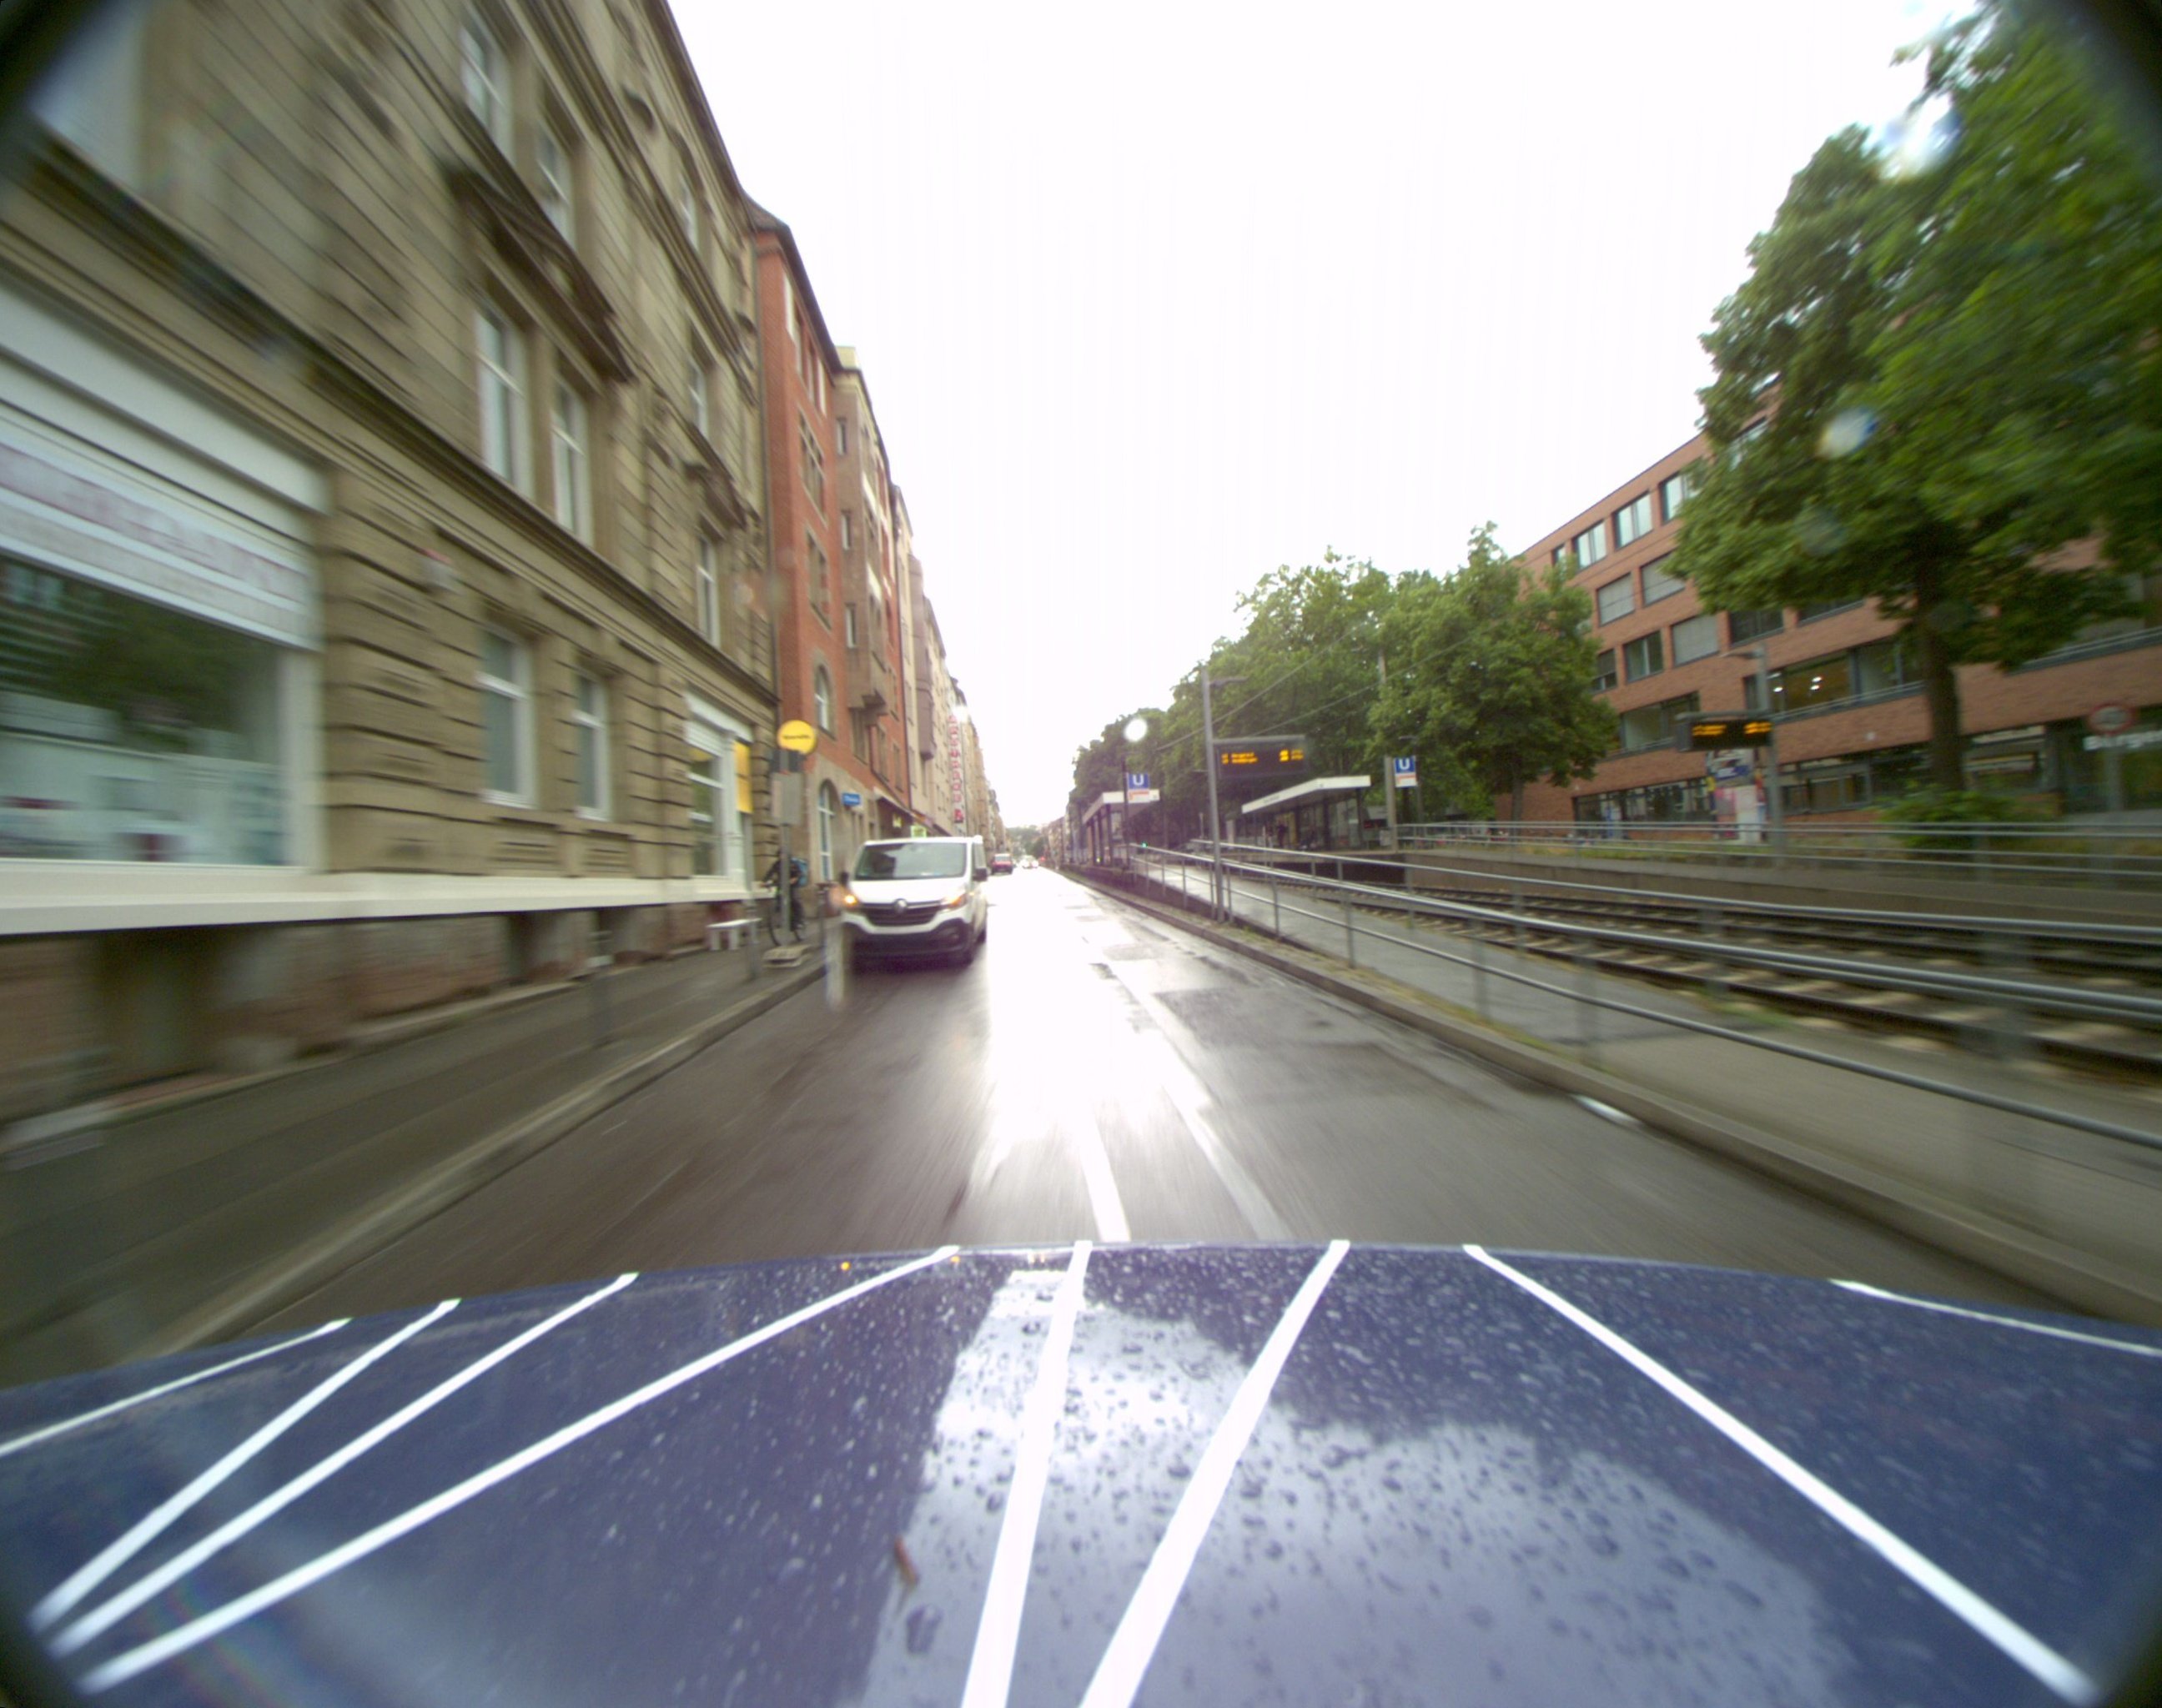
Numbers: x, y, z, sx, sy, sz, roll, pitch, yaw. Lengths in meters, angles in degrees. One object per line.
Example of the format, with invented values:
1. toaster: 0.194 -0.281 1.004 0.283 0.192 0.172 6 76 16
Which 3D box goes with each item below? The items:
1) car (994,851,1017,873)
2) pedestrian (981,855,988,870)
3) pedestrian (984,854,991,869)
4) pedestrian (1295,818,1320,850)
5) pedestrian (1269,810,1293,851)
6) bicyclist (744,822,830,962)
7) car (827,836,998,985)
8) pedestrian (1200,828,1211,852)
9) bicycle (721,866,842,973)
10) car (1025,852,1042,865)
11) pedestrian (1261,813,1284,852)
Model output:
1. car: -6.946 0.680 69.767 1.885 1.838 3.997 -3 1 -8
2. pedestrian: -11.078 0.967 86.891 0.677 1.780 0.703 -2 1 -4
3. pedestrian: -11.292 0.891 91.525 0.677 1.780 0.702 -2 1 -15
4. pedestrian: 10.806 -0.927 36.238 0.782 1.475 0.883 -3 1 -9
5. pedestrian: 10.476 -1.229 39.811 0.837 2.050 0.883 -3 1 -9
6. bicyclist: -5.027 0.620 13.094 0.921 2.250 1.287 -3 1 -3
7. car: -2.600 0.739 13.295 1.825 1.893 5.988 -4 1 -3
8. pedestrian: 9.423 -1.029 57.480 0.677 1.780 0.703 -2 1 -4
9. bicycle: -5.099 1.032 13.258 0.937 1.545 3.134 -4 0 -3
10. car: -5.643 0.510 90.079 1.884 1.439 3.998 -3 1 -5
11. pedestrian: 10.341 -1.152 41.092 0.837 2.050 0.883 -3 1 -9
